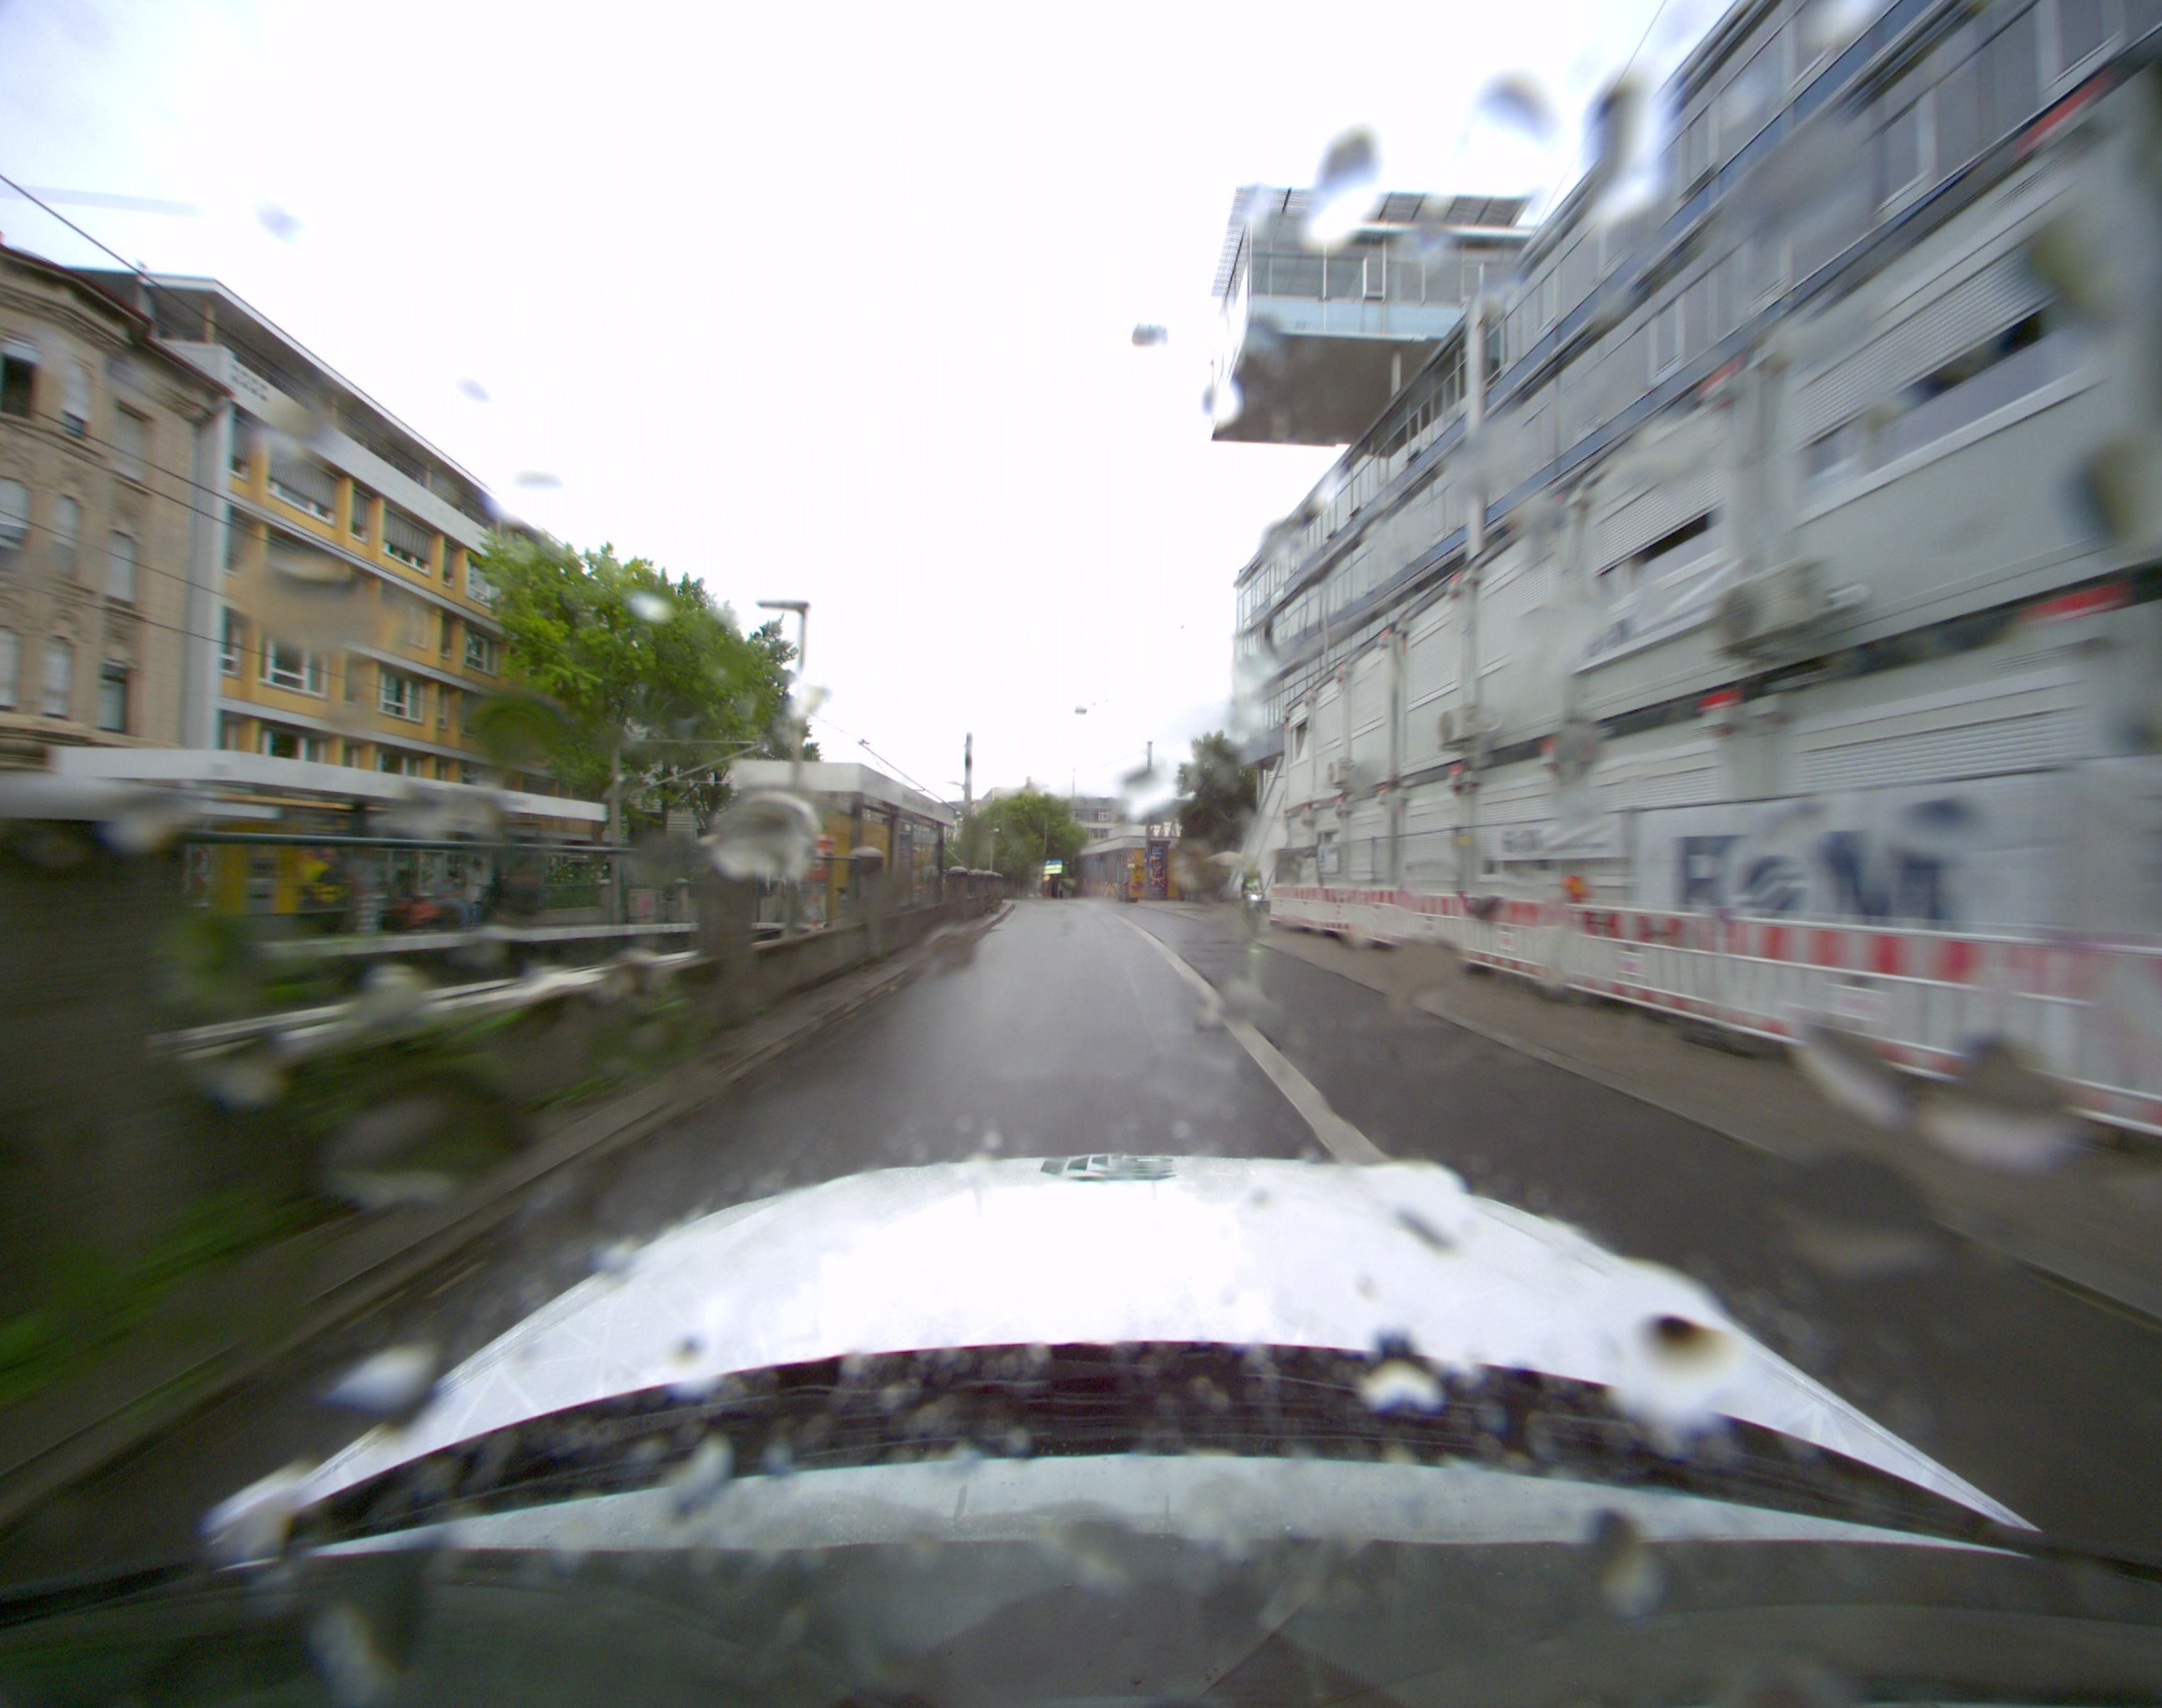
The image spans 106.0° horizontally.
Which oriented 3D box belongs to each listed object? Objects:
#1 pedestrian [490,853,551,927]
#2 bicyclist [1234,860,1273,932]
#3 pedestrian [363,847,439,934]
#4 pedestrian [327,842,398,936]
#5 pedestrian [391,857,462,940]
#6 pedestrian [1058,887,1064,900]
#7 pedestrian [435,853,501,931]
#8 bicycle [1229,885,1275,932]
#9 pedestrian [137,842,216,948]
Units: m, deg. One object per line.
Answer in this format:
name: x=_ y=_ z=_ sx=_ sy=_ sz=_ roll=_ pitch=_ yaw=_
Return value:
pedestrian: x=-13.234 y=0.840 z=19.247 sx=0.674 sy=1.649 sz=0.896 roll=-5 pitch=-2 yaw=4
bicyclist: x=4.119 y=0.997 z=19.536 sx=0.659 sy=1.639 sz=0.792 roll=-4 pitch=-2 yaw=0
pedestrian: x=-13.629 y=0.723 z=16.343 sx=0.768 sy=1.649 sz=0.778 roll=-5 pitch=-2 yaw=4
pedestrian: x=-13.160 y=0.631 z=14.934 sx=0.630 sy=1.660 sz=0.683 roll=1 pitch=-1 yaw=3
pedestrian: x=-13.879 y=0.934 z=17.289 sx=0.768 sy=1.649 sz=0.778 roll=-5 pitch=-2 yaw=4
pedestrian: x=-2.965 y=5.867 z=119.846 sx=0.806 sy=1.865 sz=1.053 roll=-1 pitch=-3 yaw=-8
pedestrian: x=-13.763 y=0.846 z=18.304 sx=0.768 sy=1.649 sz=0.778 roll=-5 pitch=-2 yaw=4
bicycle: x=4.109 y=1.284 z=19.723 sx=0.659 sy=1.053 sz=2.056 roll=-2 pitch=-2 yaw=0
pedestrian: x=-13.323 y=0.593 z=12.010 sx=0.556 sy=1.537 sz=0.517 roll=0 pitch=-1 yaw=0
